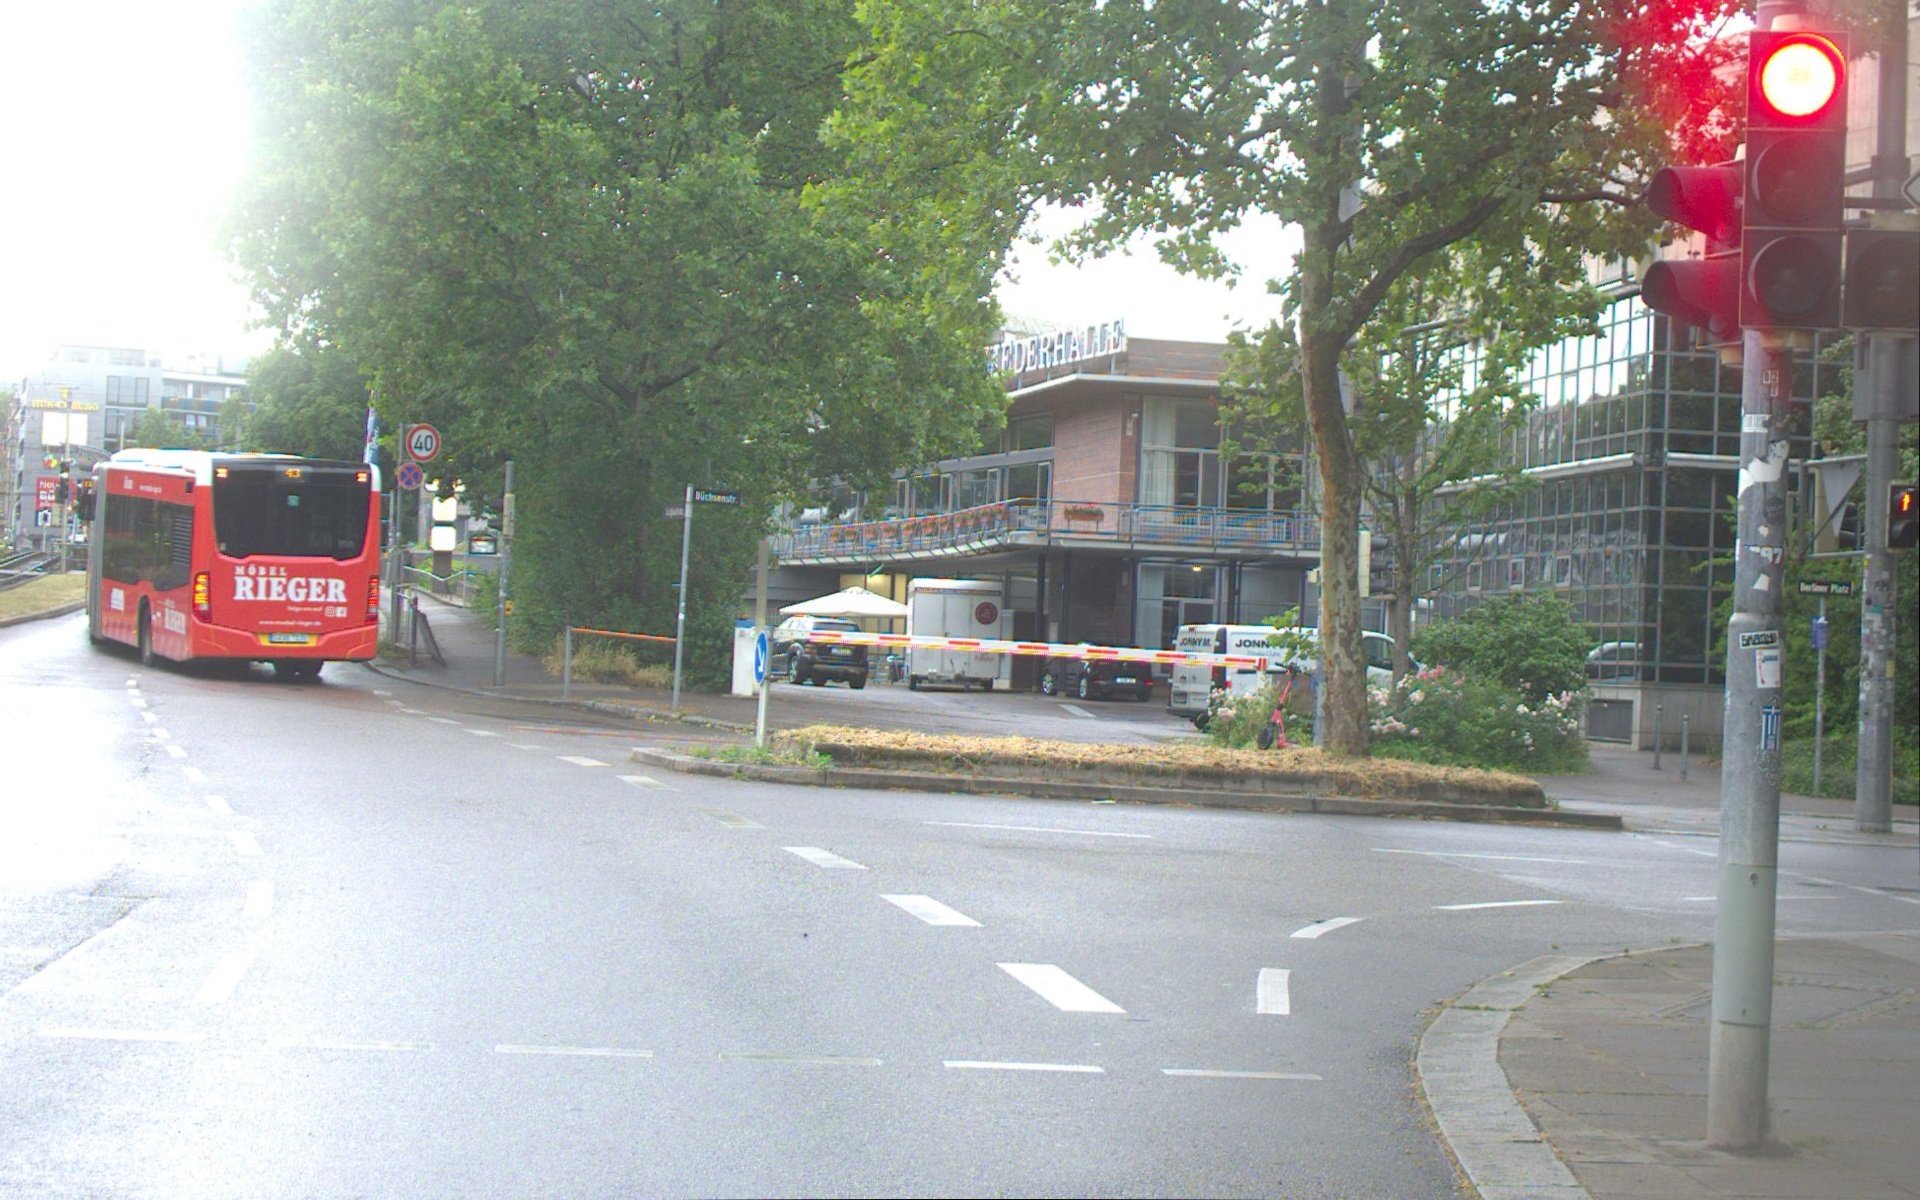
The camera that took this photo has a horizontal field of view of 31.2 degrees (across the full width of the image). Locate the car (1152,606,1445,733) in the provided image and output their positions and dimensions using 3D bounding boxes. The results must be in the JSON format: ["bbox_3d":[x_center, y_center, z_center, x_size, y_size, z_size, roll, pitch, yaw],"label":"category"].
[{"bbox_3d":[6.107,1.253,62.055,4.745,1.937,2.001,4,-1,-22],"label":"car"}]

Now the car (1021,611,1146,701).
[{"bbox_3d":[3.001,1.354,84.452,1.993,2.007,4.001,4,-1,-13],"label":"car"}]

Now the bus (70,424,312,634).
[{"bbox_3d":[-12.912,-1.097,58.488,2.550,3.100,9.457,4,-1,-5],"label":"bus"}]

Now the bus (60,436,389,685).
[{"bbox_3d":[-10.802,-0.596,49.667,2.654,3.100,9.187,4,-1,-24],"label":"bus"}]

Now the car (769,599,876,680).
[{"bbox_3d":[-3.536,0.992,87.834,1.993,1.853,4.001,4,-1,-12],"label":"car"}]

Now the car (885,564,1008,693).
[{"bbox_3d":[-0.401,0.734,90.424,2.544,3.123,5.032,4,-1,-6],"label":"car"}]

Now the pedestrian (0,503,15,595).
[{"bbox_3d":[-17.578,-0.938,62.157,0.737,1.634,0.871,4,-1,-8],"label":"pedestrian"}]
